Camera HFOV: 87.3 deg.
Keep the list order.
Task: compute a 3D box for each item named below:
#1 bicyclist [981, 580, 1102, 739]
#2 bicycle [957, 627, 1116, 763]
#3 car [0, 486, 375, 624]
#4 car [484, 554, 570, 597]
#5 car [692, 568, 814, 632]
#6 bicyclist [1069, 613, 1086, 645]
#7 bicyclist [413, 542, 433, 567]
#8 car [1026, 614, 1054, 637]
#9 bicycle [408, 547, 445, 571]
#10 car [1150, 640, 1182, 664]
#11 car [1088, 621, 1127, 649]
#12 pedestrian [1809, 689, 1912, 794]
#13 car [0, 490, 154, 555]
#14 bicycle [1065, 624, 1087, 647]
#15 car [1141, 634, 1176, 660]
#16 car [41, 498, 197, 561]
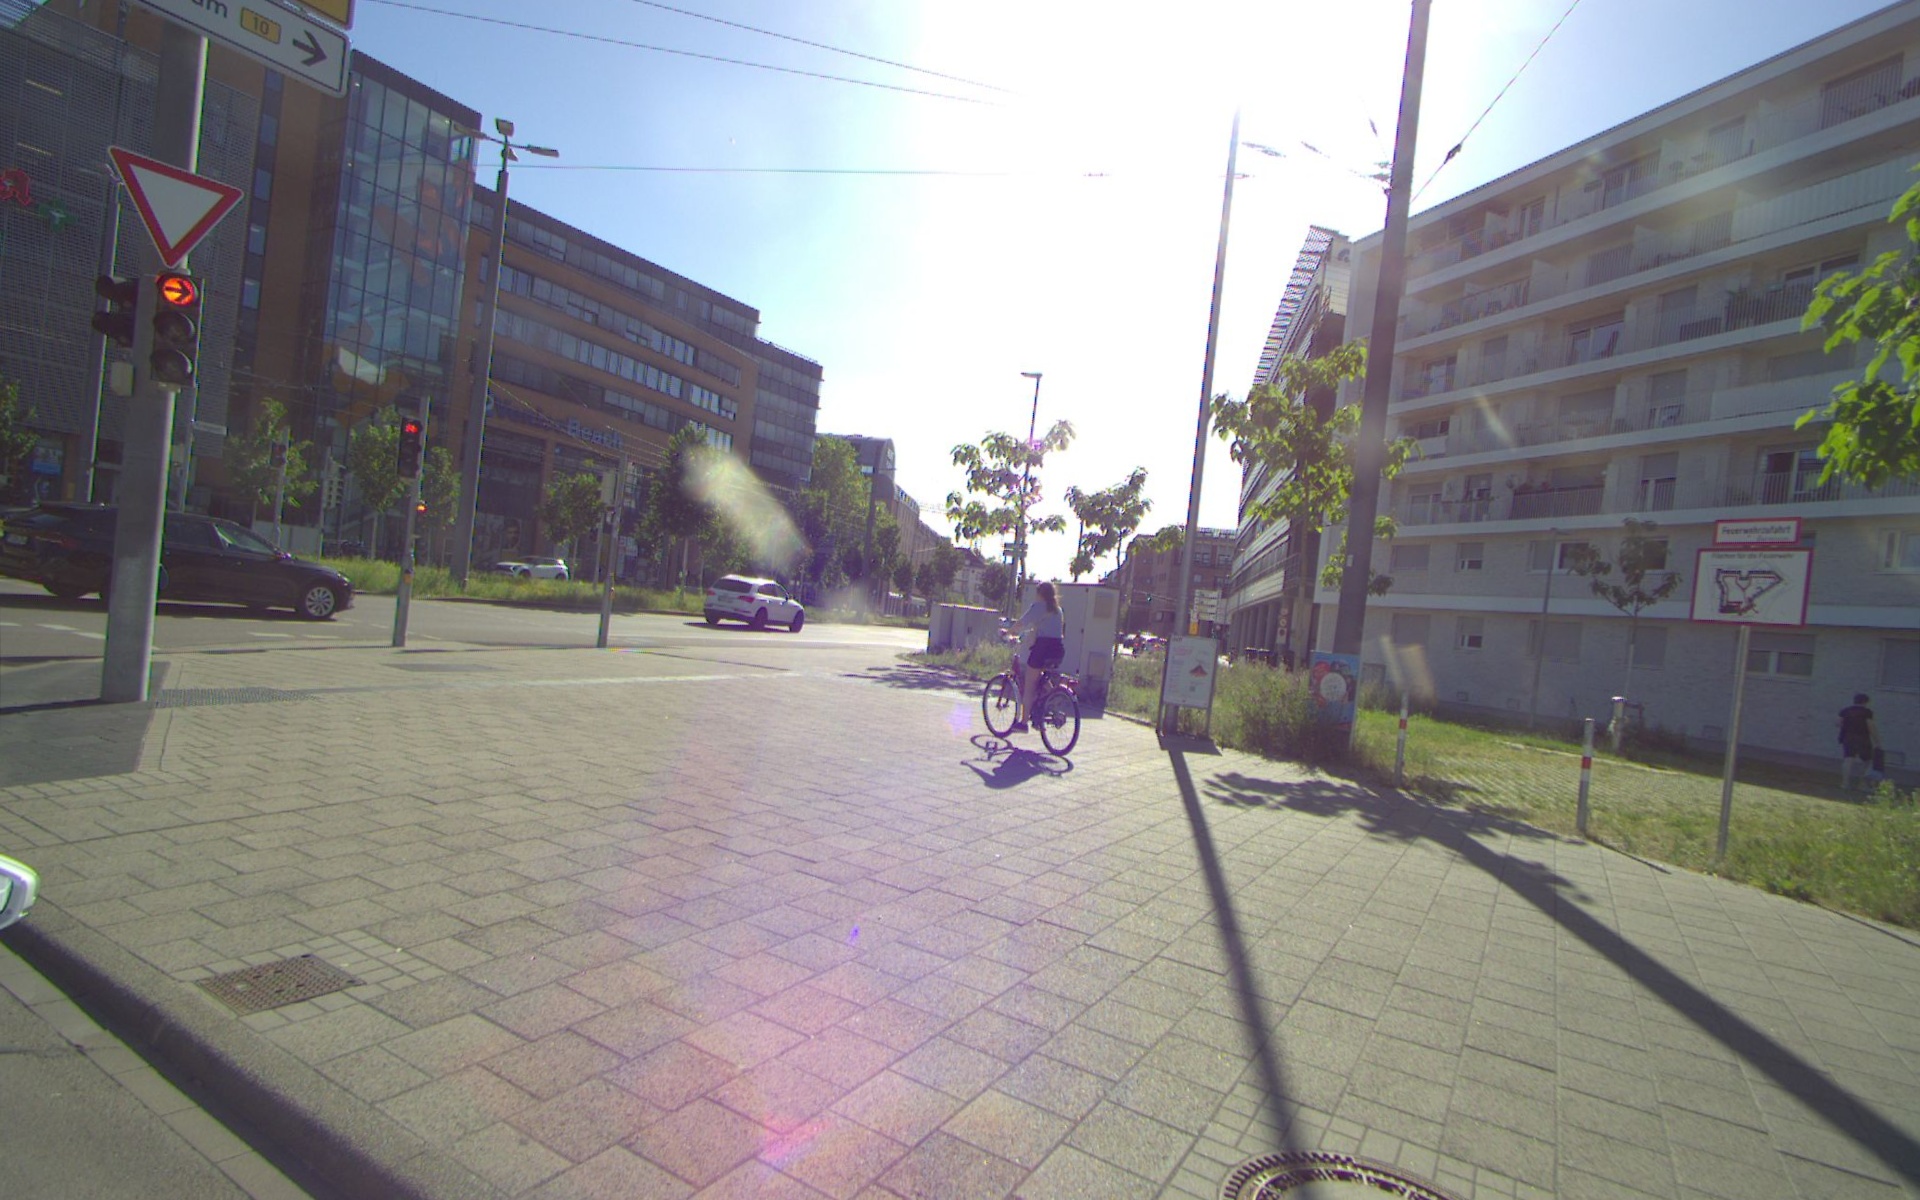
[{"bbox_3d":[0.798,0.572,10.038,0.661,1.454,0.934,6,0,-27],"label":"bicyclist"},{"bbox_3d":[0.718,0.915,10.152,0.661,1.085,1.807,6,1,-27],"label":"bicycle"},{"bbox_3d":[-11.851,-0.598,15.444,1.800,1.479,4.684,7,-1,24],"label":"car"},{"bbox_3d":[-24.837,-1.379,57.906,1.807,1.885,4.340,6,-1,23],"label":"car"},{"bbox_3d":[-6.762,0.076,33.413,1.900,1.728,4.686,7,0,15],"label":"car"},{"bbox_3d":[6.836,1.702,58.601,0.563,1.727,0.885,7,-1,25],"label":"bicyclist"},{"bbox_3d":[-32.534,-2.758,60.901,0.556,1.404,0.754,9,2,31],"label":"bicyclist"},{"bbox_3d":[6.831,2.159,85.672,1.615,1.665,3.704,7,-1,15],"label":"car"},{"bbox_3d":[-32.424,-2.499,61.173,0.559,1.232,1.859,9,1,31],"label":"bicycle"},{"bbox_3d":[15.864,4.001,77.378,1.677,1.515,4.281,7,-2,19],"label":"car"},{"bbox_3d":[9.997,2.412,67.882,1.677,1.515,4.281,7,-2,19],"label":"car"},{"bbox_3d":[16.287,2.552,18.219,0.970,1.719,0.842,6,2,-16],"label":"pedestrian"},{"bbox_3d":[-32.070,-2.771,36.323,1.810,1.484,4.161,6,-5,30],"label":"car"},{"bbox_3d":[6.741,2.077,58.484,0.571,1.150,1.907,7,-2,25],"label":"bicycle"},{"bbox_3d":[14.007,3.330,70.737,1.677,1.515,4.281,7,-2,19],"label":"car"},{"bbox_3d":[-33.593,-2.773,40.317,1.810,1.600,4.303,6,-5,31],"label":"car"}]
